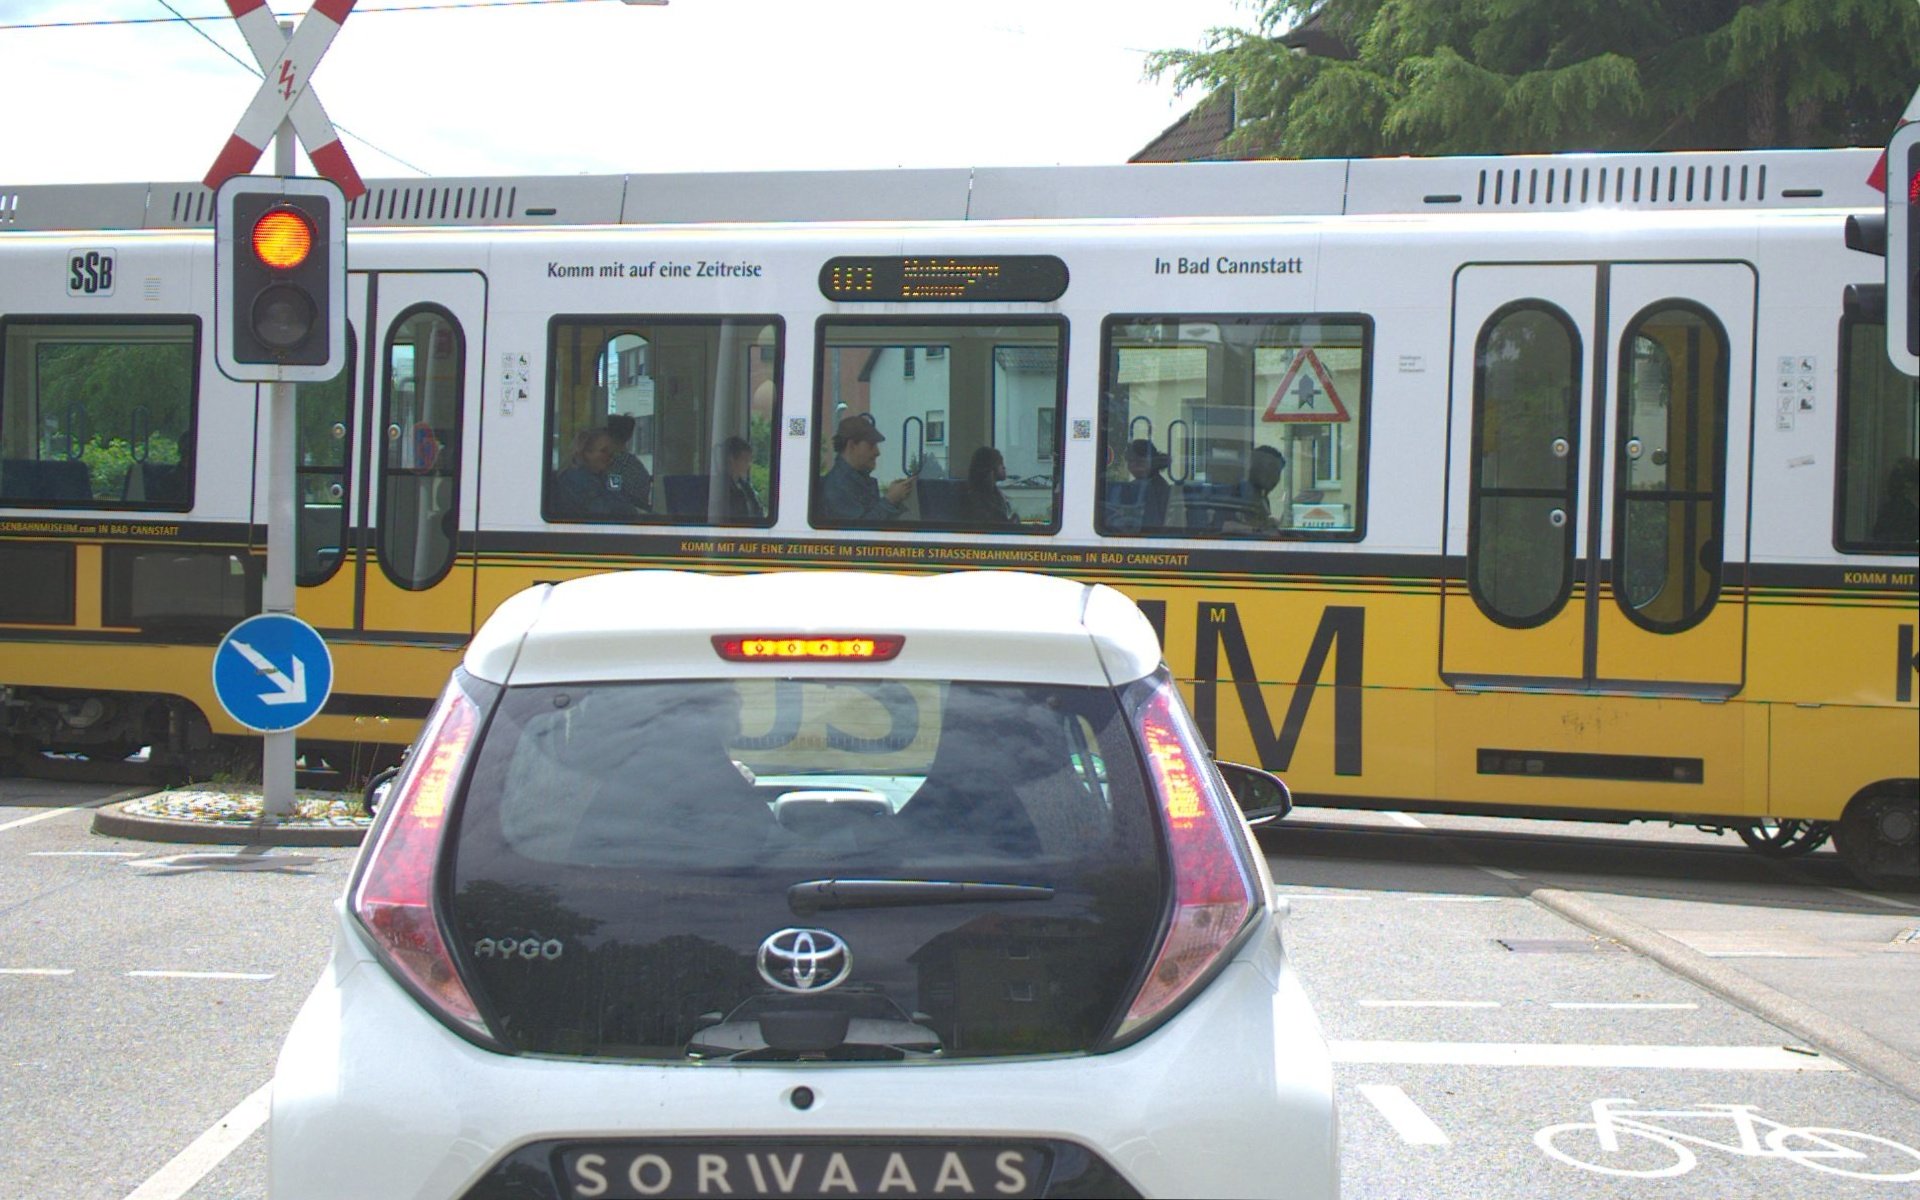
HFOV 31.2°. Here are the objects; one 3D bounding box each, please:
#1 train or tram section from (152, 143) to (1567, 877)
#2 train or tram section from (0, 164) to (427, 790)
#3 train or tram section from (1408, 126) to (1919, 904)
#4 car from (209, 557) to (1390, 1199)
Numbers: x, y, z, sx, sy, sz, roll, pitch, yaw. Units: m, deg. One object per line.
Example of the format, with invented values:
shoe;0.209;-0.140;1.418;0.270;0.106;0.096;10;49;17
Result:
train or tram section;-0.628;-0.602;20.178;7.700;3.709;2.866;2;1;23
train or tram section;-7.724;-0.878;23.177;7.700;3.709;2.866;2;1;23
train or tram section;6.421;-0.359;17.185;7.700;3.709;2.866;2;1;23
car;-0.245;0.668;6.741;1.621;1.481;4.000;0;1;-1
